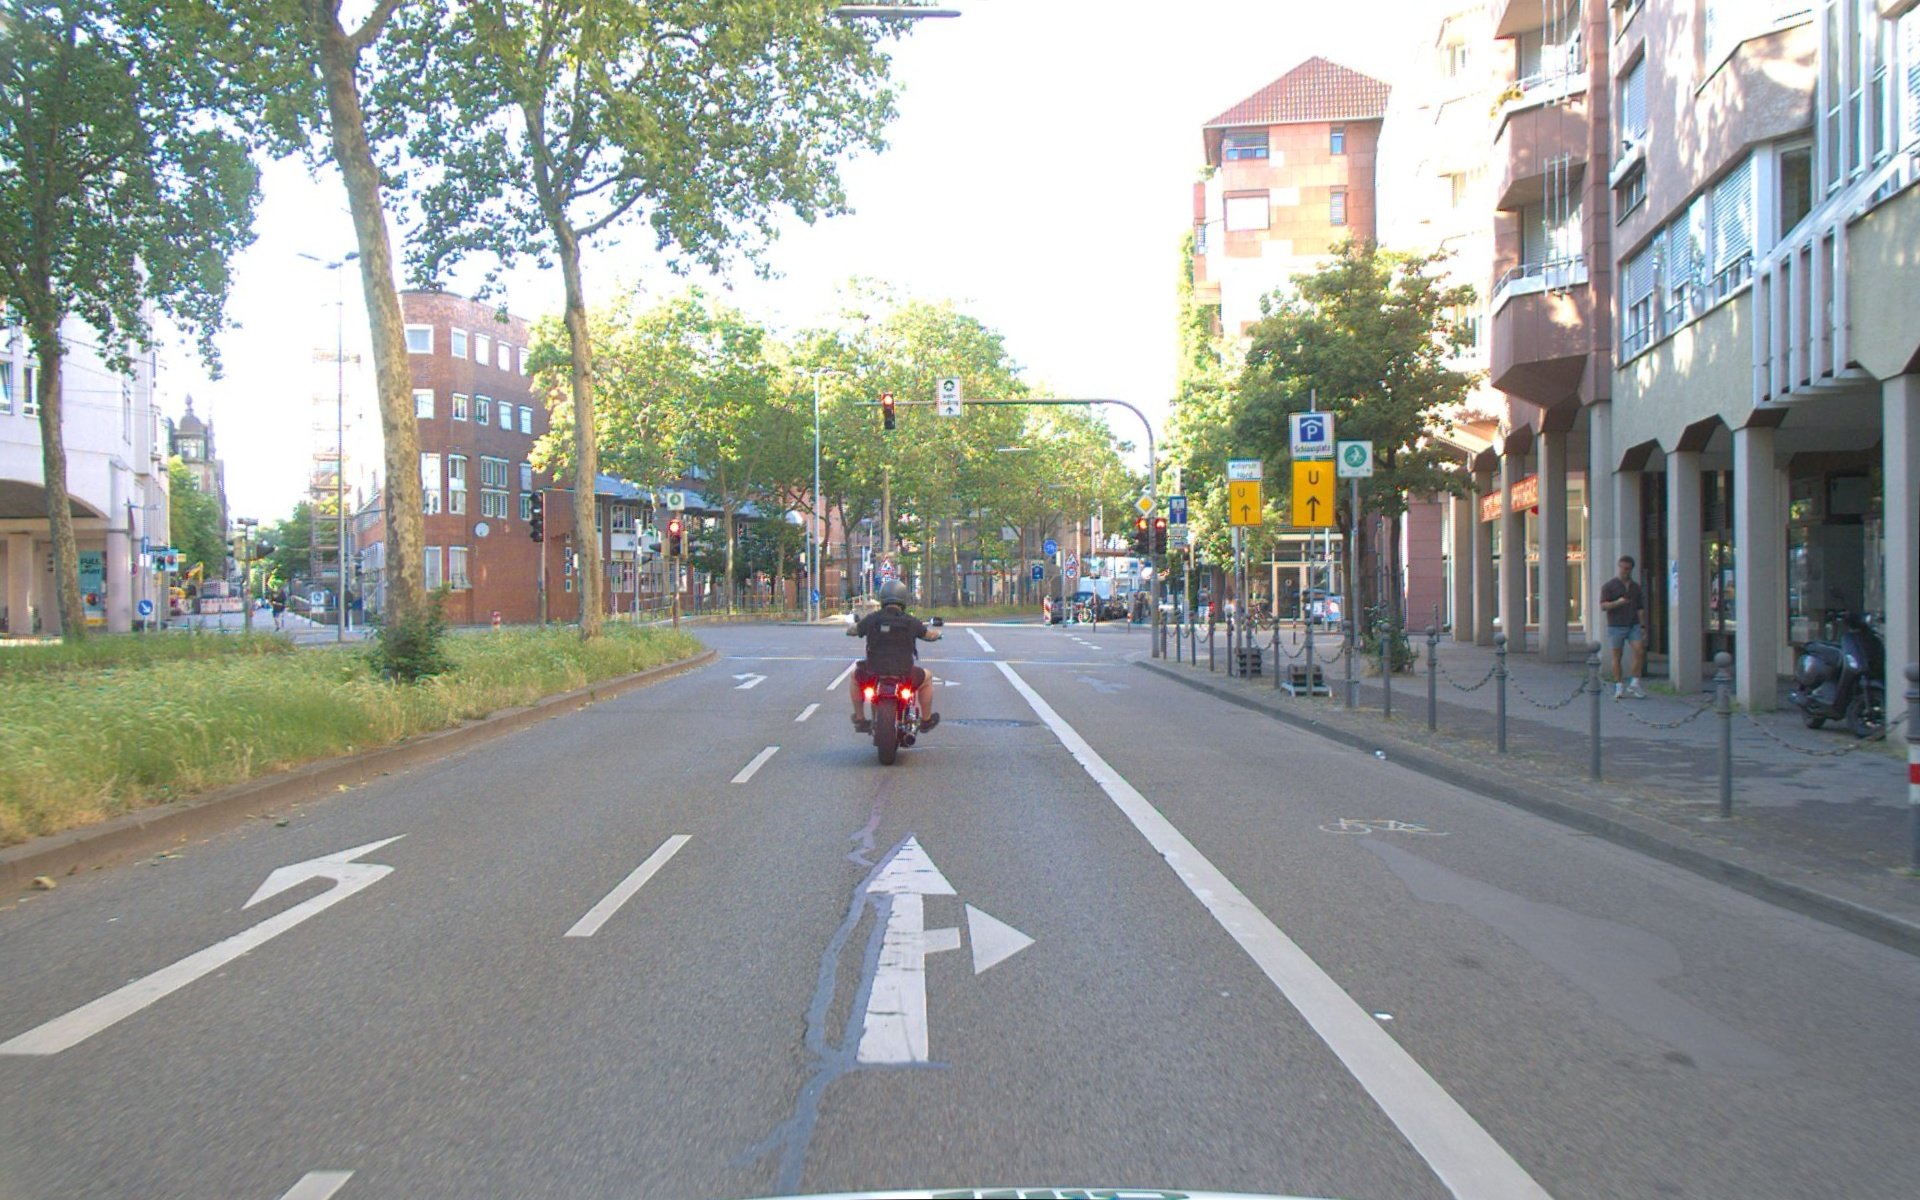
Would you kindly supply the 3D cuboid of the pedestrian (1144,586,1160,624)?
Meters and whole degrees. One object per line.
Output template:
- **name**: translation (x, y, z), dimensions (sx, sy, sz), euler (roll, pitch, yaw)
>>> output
- **pedestrian**: translation (9.179, 0.239, 79.219), dimensions (0.685, 1.764, 0.768), euler (-1, 0, 3)

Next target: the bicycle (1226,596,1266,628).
- **bicycle**: translation (11.404, 0.466, 66.030), dimensions (1.534, 1.248, 0.578), euler (-1, 0, 5)

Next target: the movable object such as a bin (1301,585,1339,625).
- **movable object such as a bin**: translation (13.753, 0.191, 63.275), dimensions (1.380, 1.508, 0.872), euler (-1, 0, 11)

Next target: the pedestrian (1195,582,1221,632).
- **pedestrian**: translation (8.993, 0.261, 59.985), dimensions (0.770, 1.794, 0.609), euler (-1, 0, -4)

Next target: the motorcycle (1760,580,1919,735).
- **motorcycle**: translation (8.470, 0.509, 15.971), dimensions (0.478, 1.396, 2.090), euler (0, 0, 0)

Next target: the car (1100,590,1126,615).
- **car**: translation (10.336, 0.179, 111.328), dimensions (1.585, 1.638, 3.777), euler (-1, 0, 8)

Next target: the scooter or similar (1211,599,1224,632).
- **scooter or similar**: translation (9.344, 0.549, 60.093), dimensions (0.386, 1.178, 1.250), euler (-1, 0, 5)

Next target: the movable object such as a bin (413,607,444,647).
- **movable object such as a bin**: translation (-12.879, 0.651, 40.059), dimensions (0.499, 0.970, 0.540), euler (0, 0, 13)

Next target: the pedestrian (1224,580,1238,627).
- **pedestrian**: translation (9.840, 0.131, 60.060), dimensions (0.449, 1.702, 0.680), euler (-1, 0, 5)

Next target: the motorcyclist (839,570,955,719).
- **motorcyclist**: translation (-0.558, 0.391, 14.950), dimensions (0.991, 1.285, 0.774), euler (2, 0, -1)

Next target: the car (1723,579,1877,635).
- **car**: translation (27.272, 0.236, 53.799), dimensions (4.095, 1.752, 1.803), euler (-1, 0, 8)

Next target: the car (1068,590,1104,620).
- **car**: translation (6.999, 0.265, 91.682), dimensions (1.585, 1.647, 4.489), euler (-1, 0, 9)

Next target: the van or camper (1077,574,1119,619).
- **van or camper**: translation (8.241, -0.234, 98.263), dimensions (2.005, 2.585, 5.778), euler (-1, 0, 10)

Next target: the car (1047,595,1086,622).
- **car**: translation (5.320, 0.402, 82.004), dimensions (1.585, 1.325, 4.315), euler (-1, 0, 8)

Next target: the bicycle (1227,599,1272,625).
- **bicycle**: translation (12.094, 0.509, 69.156), dimensions (1.712, 1.071, 0.738), euler (-1, 0, 27)

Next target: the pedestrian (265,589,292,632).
- **pedestrian**: translation (-30.016, 0.453, 72.862), dimensions (0.837, 1.902, 0.753), euler (-1, 0, 8)

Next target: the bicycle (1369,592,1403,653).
- **bicycle**: translation (8.953, 0.462, 34.801), dimensions (0.608, 1.247, 1.928), euler (0, 0, 12)

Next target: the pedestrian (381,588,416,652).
- **pedestrian**: translation (-13.515, 0.476, 39.833), dimensions (0.605, 1.530, 0.535), euler (0, 0, 11)

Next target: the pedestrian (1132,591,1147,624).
- **pedestrian**: translation (8.627, 0.364, 79.482), dimensions (0.630, 1.606, 0.748), euler (-1, 0, 3)

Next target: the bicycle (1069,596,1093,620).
- **bicycle**: translation (5.493, 0.352, 75.101), dimensions (0.723, 1.071, 1.748), euler (-1, 0, -9)

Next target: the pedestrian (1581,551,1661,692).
- **pedestrian**: translation (8.448, 0.268, 21.180), dimensions (0.764, 1.769, 0.837), euler (0, 0, 8)

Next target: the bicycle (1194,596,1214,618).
- **bicycle**: translation (10.972, 0.296, 74.356), dimensions (0.721, 0.956, 1.753), euler (0, 0, 4)

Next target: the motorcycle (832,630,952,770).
- **motorcycle**: translation (-0.583, 0.856, 14.882), dimensions (0.997, 1.116, 2.007), euler (0, 0, -1)
